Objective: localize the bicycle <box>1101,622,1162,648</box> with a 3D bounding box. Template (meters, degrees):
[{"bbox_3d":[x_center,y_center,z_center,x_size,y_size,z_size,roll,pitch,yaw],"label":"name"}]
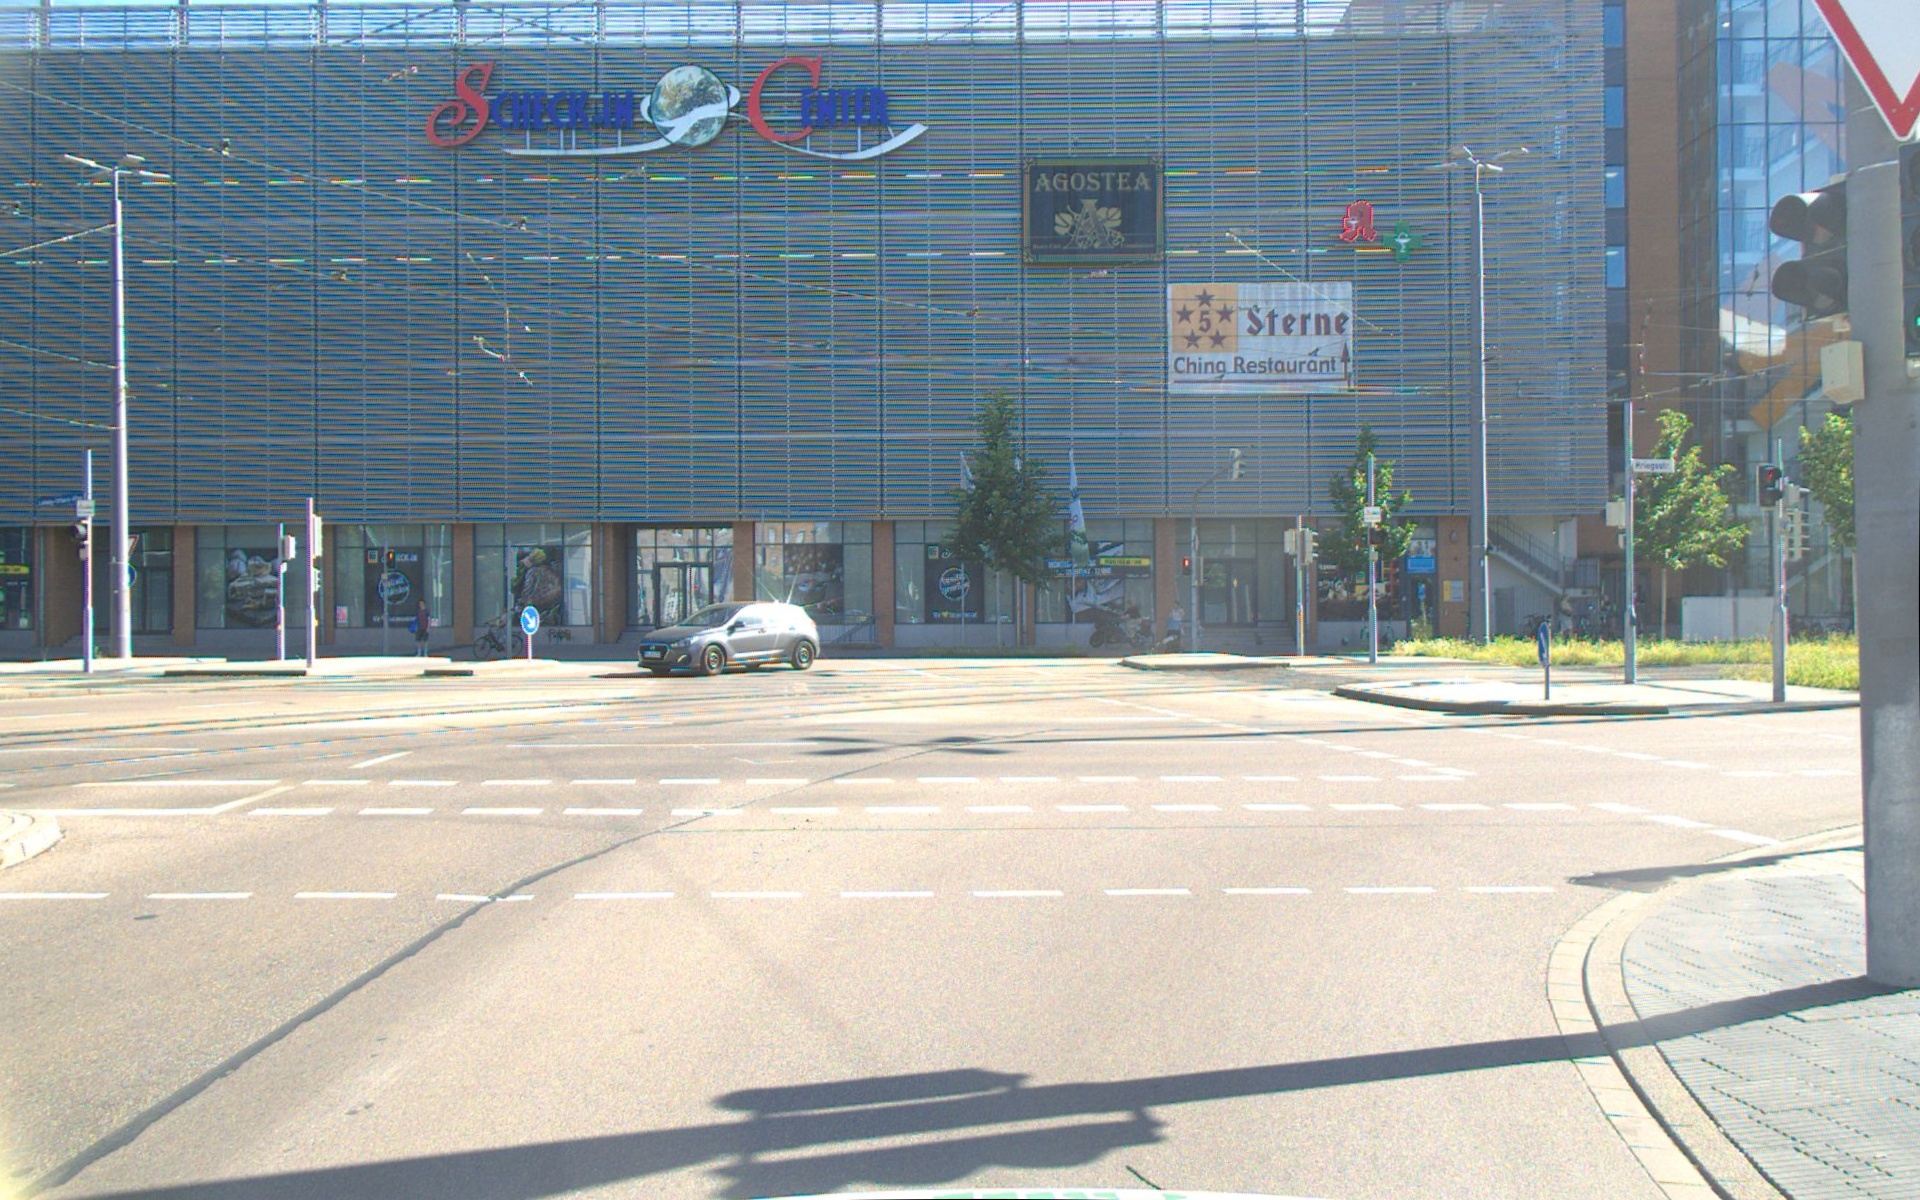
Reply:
[{"bbox_3d":[5.868,1.190,56.563,2.000,0.882,0.682,0,-1,-2],"label":"bicycle"}]

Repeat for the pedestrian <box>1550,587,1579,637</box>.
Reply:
[{"bbox_3d":[21.222,0.419,58.058,0.763,1.714,0.595,0,-1,-14],"label":"pedestrian"}]

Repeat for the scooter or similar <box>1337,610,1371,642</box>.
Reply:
[{"bbox_3d":[14.416,0.944,60.490,1.177,1.122,0.277,1,-1,1],"label":"scooter or similar"}]

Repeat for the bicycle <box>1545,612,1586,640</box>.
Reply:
[{"bbox_3d":[21.964,0.934,60.047,0.482,0.971,2.177,0,1,-6],"label":"bicycle"}]

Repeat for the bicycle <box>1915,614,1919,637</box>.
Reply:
[{"bbox_3d":[36.462,0.967,61.957,0.436,0.833,1.449,0,1,-6],"label":"bicycle"}]

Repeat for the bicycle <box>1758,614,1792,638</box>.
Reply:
[{"bbox_3d":[30.286,0.960,61.487,0.436,0.833,1.449,0,1,-6],"label":"bicycle"}]

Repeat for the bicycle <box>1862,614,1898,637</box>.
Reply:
[{"bbox_3d":[34.240,0.941,61.566,0.436,0.833,1.449,0,1,-6],"label":"bicycle"}]

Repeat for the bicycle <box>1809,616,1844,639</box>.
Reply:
[{"bbox_3d":[32.176,1.015,61.446,0.436,0.833,1.449,0,1,-6],"label":"bicycle"}]

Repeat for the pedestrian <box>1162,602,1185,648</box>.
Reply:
[{"bbox_3d":[6.983,0.812,54.079,0.723,1.513,0.490,0,-1,9],"label":"pedestrian"}]

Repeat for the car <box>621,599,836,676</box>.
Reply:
[{"bbox_3d":[-4.842,0.745,35.019,1.965,1.526,4.282,-1,-1,42],"label":"car"}]

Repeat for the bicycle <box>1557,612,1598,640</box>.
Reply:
[{"bbox_3d":[22.487,0.930,60.216,0.482,0.971,2.177,0,1,-6],"label":"bicycle"}]

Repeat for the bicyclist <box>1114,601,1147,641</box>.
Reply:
[{"bbox_3d":[5.830,0.717,56.560,1.015,1.341,0.682,0,-1,-2],"label":"bicyclist"}]

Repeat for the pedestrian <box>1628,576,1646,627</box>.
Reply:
[{"bbox_3d":[26.050,0.055,63.646,0.528,1.948,0.374,1,-1,7],"label":"pedestrian"}]

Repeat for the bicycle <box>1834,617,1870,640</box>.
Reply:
[{"bbox_3d":[33.159,1.052,61.469,0.436,0.833,1.449,0,1,-6],"label":"bicycle"}]

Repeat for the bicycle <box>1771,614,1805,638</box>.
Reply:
[{"bbox_3d":[30.803,0.962,61.525,0.436,0.833,1.449,0,1,-6],"label":"bicycle"}]

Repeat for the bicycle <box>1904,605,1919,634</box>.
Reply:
[{"bbox_3d":[34.904,0.680,58.655,2.507,1.028,0.598,0,-1,0],"label":"bicycle"}]

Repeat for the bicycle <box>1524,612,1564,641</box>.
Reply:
[{"bbox_3d":[21.154,0.950,59.957,0.482,0.971,2.177,0,1,-6],"label":"bicycle"}]

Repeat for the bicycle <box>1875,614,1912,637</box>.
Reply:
[{"bbox_3d":[34.766,0.935,61.595,0.436,0.833,1.449,0,1,-6],"label":"bicycle"}]

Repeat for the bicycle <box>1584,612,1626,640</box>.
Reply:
[{"bbox_3d":[23.482,0.942,60.234,0.482,0.971,2.177,0,1,-6],"label":"bicycle"}]

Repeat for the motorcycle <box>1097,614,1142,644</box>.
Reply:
[{"bbox_3d":[5.697,1.025,59.149,1.581,1.056,0.402,0,-1,0],"label":"motorcycle"}]

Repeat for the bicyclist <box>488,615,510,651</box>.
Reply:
[{"bbox_3d":[-14.765,1.053,52.958,0.557,1.159,0.553,0,-1,-34],"label":"bicyclist"}]

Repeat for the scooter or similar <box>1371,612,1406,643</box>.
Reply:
[{"bbox_3d":[15.699,0.997,60.597,1.177,1.122,0.277,1,-1,1],"label":"scooter or similar"}]

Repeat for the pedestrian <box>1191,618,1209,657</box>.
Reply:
[{"bbox_3d":[7.742,1.199,53.381,0.443,1.250,0.393,0,-1,-31],"label":"pedestrian"}]

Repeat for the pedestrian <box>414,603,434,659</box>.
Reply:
[{"bbox_3d":[-17.223,0.991,53.122,0.614,1.782,0.586,0,-1,-19],"label":"pedestrian"}]

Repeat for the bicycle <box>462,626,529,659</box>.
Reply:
[{"bbox_3d":[-14.855,1.352,52.897,1.997,1.003,0.553,0,-1,-34],"label":"bicycle"}]
